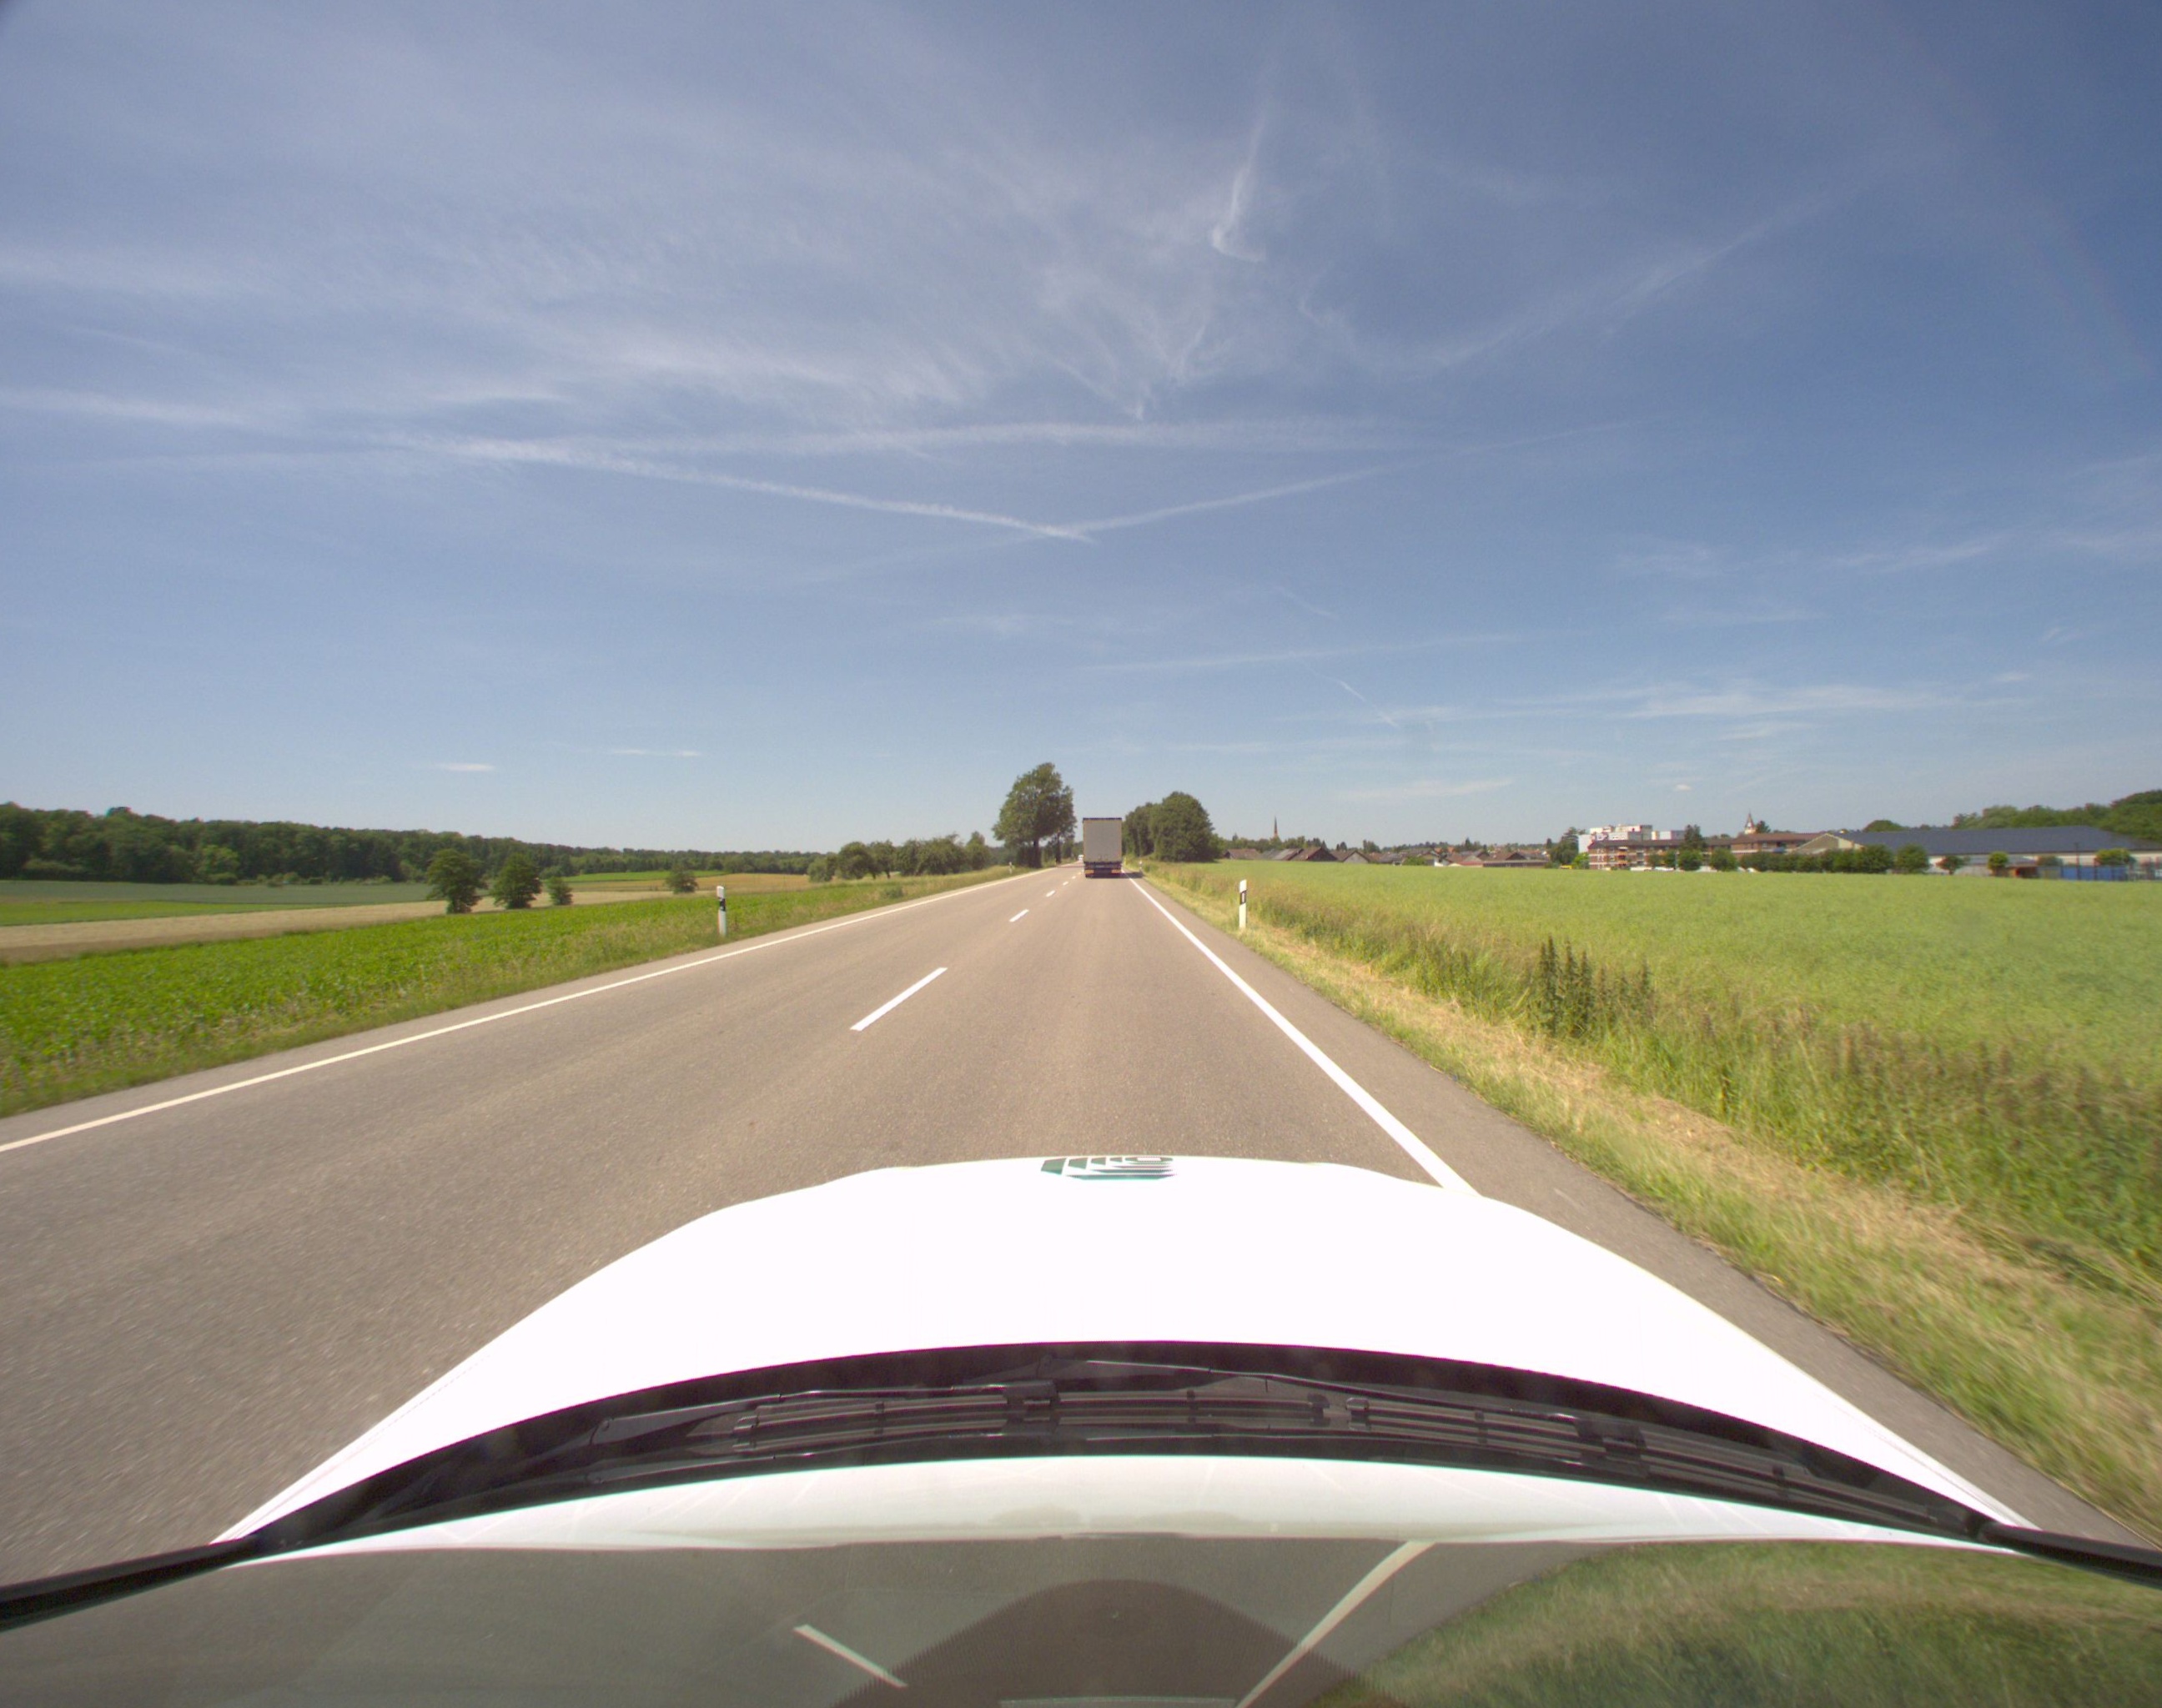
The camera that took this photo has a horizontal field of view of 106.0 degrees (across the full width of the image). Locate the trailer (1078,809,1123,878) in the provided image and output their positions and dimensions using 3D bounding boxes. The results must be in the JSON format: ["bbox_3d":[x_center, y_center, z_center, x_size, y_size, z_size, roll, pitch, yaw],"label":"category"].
[{"bbox_3d":[1.426,-0.668,59.595,2.857,4.400,13.495,-1,0,1],"label":"trailer"}]

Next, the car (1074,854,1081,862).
[{"bbox_3d":[-1.012,1.114,216.156,1.867,2.013,4.074,0,0,0],"label":"car"}]
